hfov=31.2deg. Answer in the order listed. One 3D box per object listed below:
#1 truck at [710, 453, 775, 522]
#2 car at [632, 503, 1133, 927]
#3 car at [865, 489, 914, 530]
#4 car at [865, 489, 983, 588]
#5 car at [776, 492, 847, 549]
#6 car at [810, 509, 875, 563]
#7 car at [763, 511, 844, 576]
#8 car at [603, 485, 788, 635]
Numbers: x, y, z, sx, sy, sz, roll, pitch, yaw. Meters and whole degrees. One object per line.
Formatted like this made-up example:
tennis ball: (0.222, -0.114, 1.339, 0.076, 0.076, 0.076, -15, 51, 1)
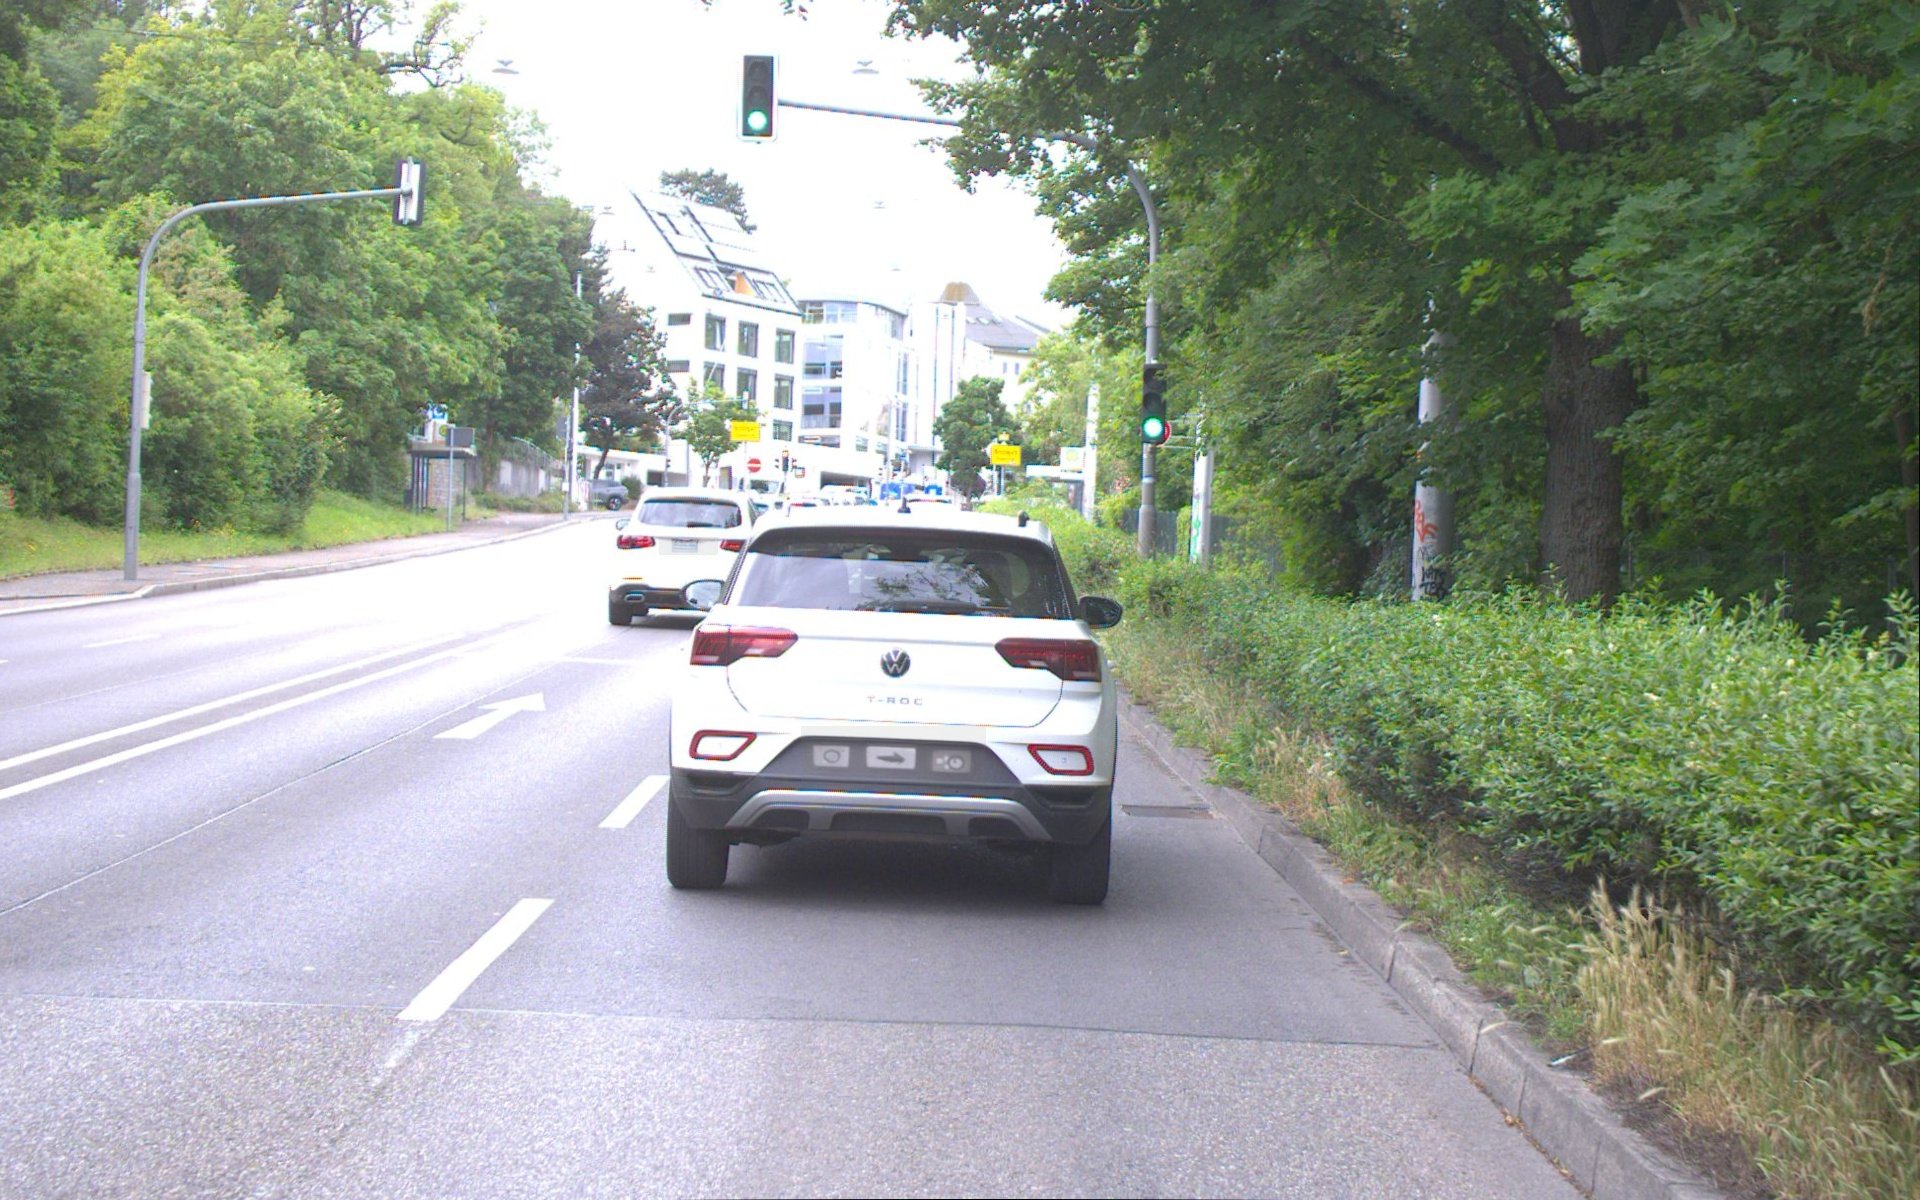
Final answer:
truck: (-8.701, -4.494, 137.878, 2.362, 2.697, 4.478, 1, 2, -1)
car: (-0.315, 0.377, 14.892, 1.829, 1.520, 4.001, 2, 2, -1)
car: (-2.695, -3.508, 132.906, 1.829, 1.520, 4.001, 1, 2, -1)
car: (-0.590, -1.039, 56.230, 1.829, 1.520, 4.001, 1, 2, -1)
car: (-4.103, -2.233, 95.630, 1.829, 1.520, 4.001, 1, 2, -1)
car: (-3.512, -1.941, 103.208, 1.829, 1.520, 4.001, 1, 2, -1)
car: (-3.842, -1.413, 84.893, 1.829, 1.520, 4.001, 1, 2, -1)
car: (-3.110, -0.519, 41.089, 1.918, 1.663, 4.001, 1, 2, -1)
